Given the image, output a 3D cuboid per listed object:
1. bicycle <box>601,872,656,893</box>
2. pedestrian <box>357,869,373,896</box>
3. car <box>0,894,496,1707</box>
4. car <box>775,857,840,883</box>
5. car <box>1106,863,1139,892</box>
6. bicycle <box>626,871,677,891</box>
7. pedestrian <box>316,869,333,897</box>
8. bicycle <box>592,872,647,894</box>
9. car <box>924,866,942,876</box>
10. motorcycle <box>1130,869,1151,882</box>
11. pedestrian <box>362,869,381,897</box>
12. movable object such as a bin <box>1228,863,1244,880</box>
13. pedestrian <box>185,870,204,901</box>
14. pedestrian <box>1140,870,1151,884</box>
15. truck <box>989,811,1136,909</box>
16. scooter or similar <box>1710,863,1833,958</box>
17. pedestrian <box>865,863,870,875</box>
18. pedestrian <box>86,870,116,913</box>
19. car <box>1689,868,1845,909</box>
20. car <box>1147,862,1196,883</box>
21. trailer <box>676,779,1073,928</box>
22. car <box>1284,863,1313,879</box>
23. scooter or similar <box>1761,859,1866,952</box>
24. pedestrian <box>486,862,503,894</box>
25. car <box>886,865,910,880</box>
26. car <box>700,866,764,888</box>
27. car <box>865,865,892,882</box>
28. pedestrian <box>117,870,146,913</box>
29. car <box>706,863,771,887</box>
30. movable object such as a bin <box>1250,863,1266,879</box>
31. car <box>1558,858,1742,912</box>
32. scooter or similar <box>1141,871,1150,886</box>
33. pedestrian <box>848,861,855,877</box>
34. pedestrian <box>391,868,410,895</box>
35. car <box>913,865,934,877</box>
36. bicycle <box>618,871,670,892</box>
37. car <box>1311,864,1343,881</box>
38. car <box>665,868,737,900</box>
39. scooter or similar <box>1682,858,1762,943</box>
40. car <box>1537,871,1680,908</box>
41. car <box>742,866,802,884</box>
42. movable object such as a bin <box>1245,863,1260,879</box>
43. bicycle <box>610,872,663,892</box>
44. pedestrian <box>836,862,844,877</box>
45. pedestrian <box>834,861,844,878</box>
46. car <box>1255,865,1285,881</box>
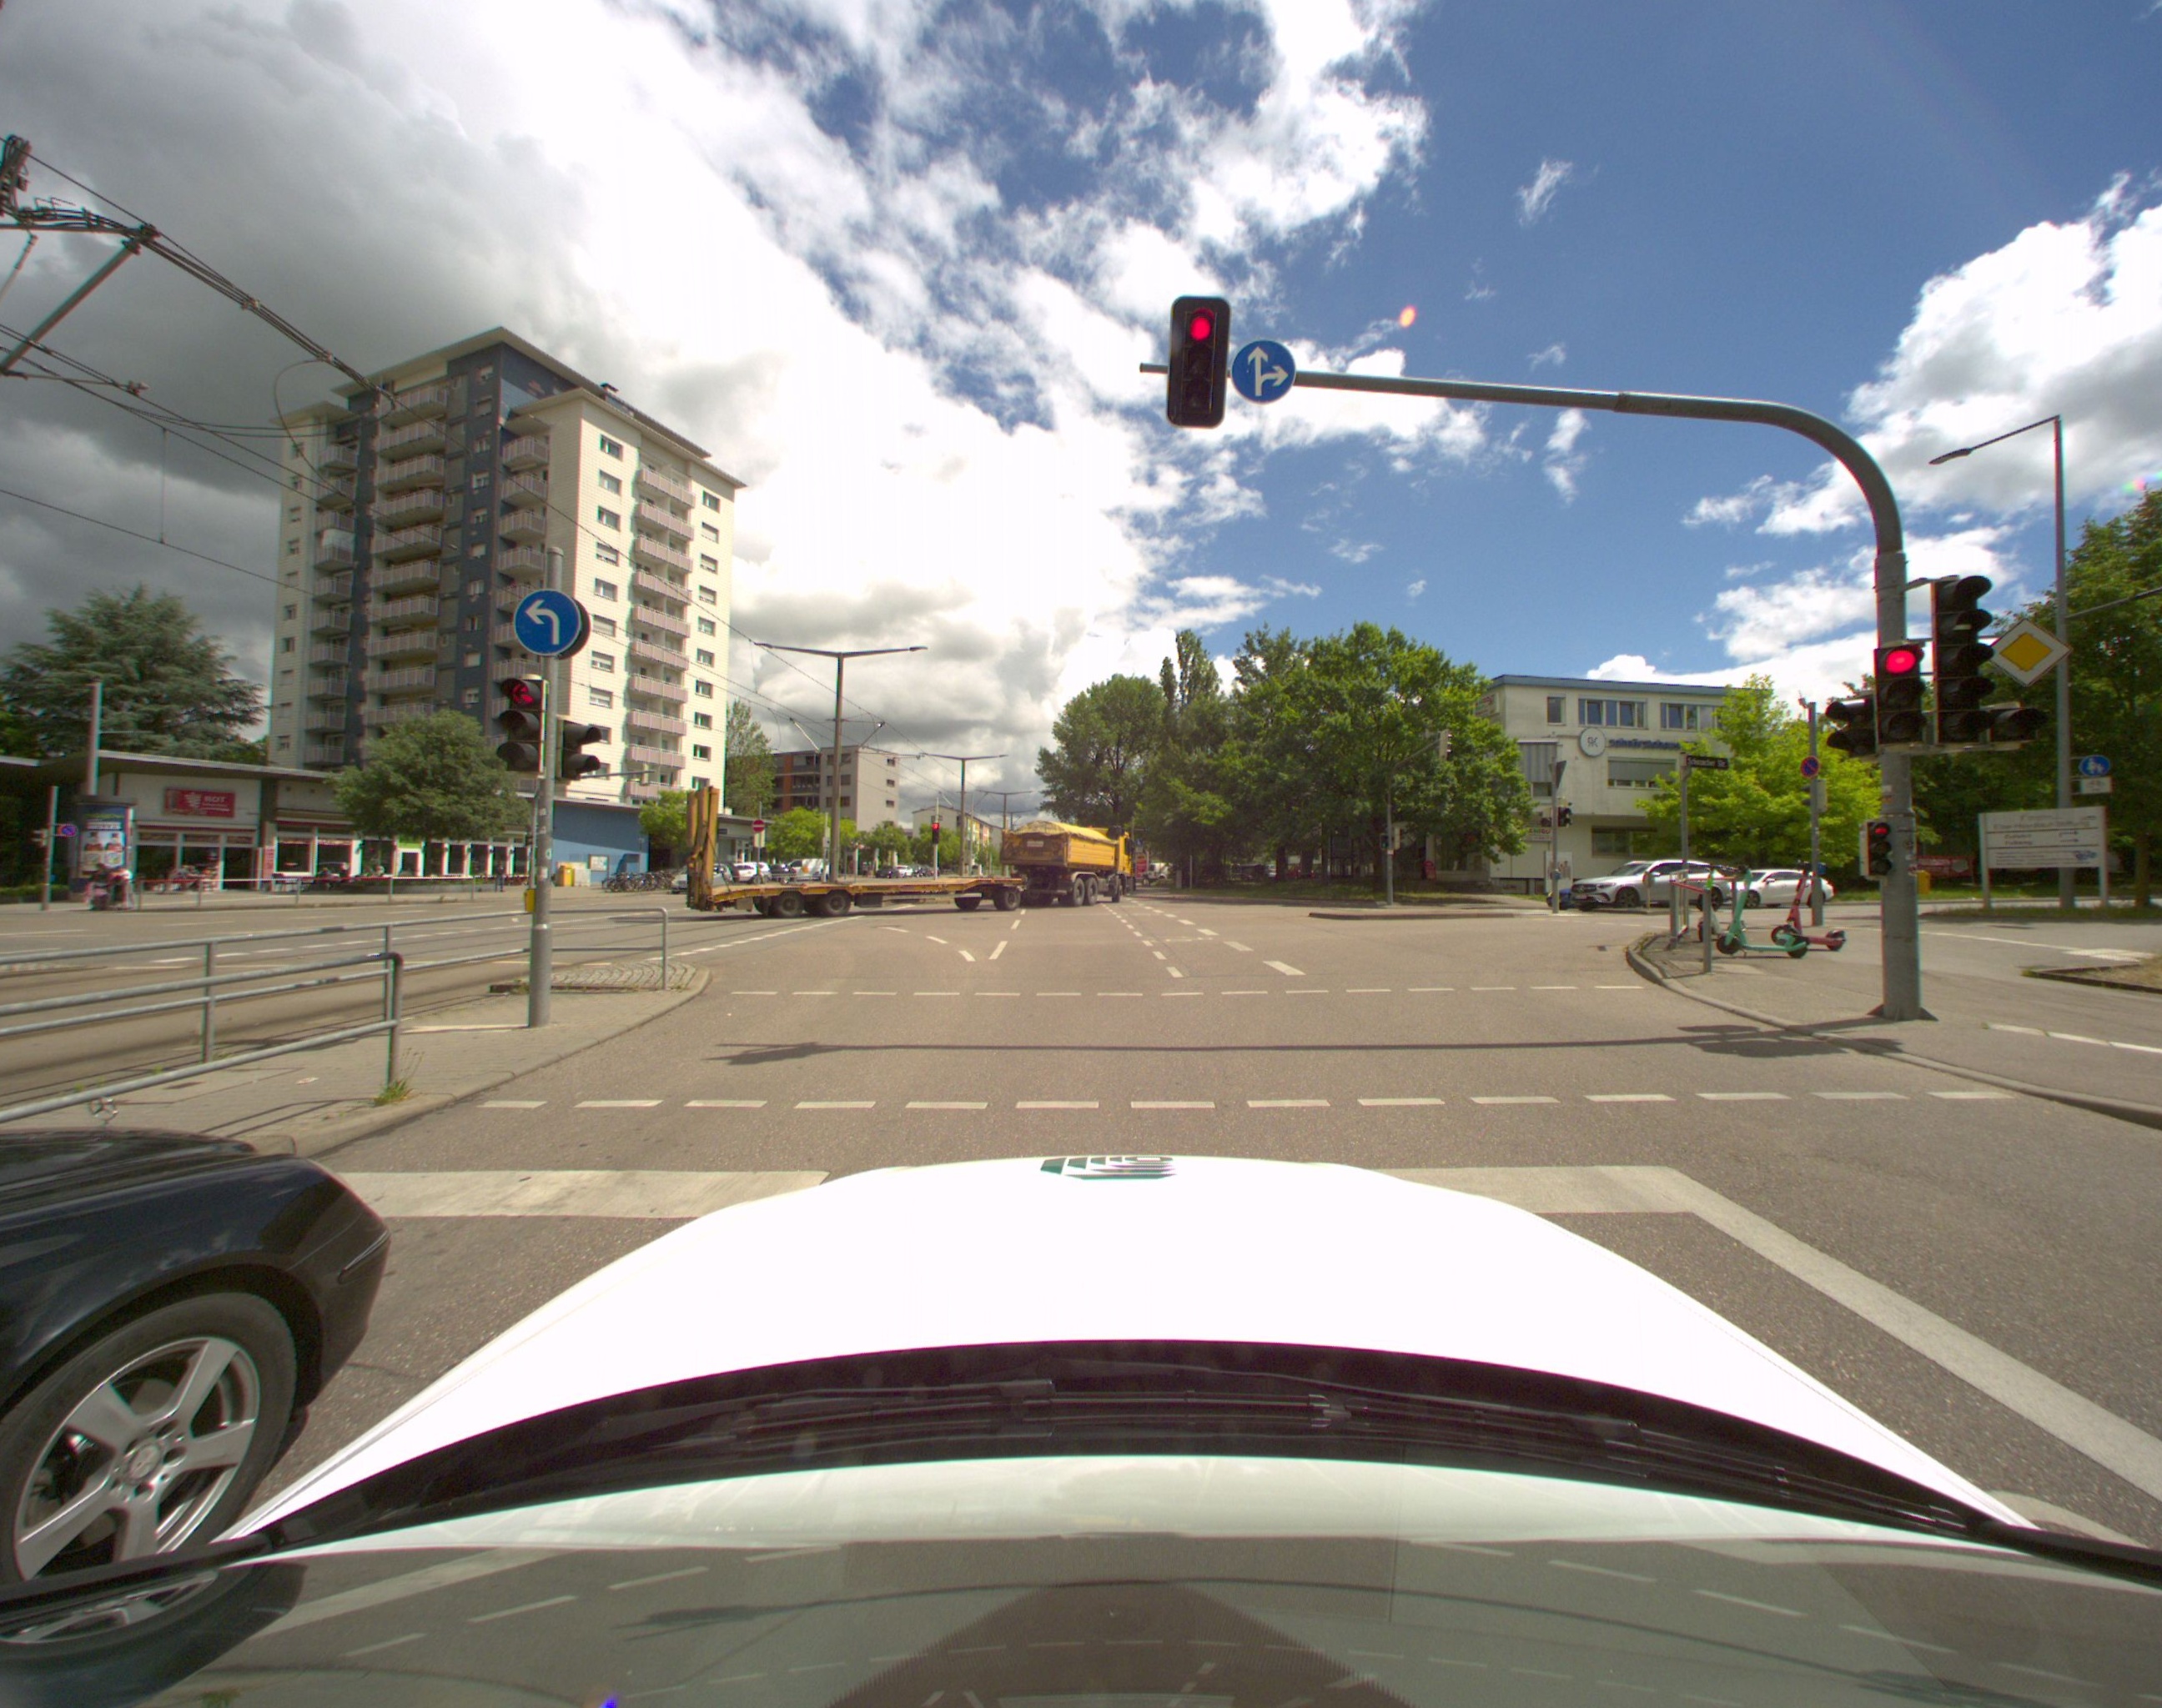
[{"bbox_3d":[-23.438,1.469,42.225,2.419,1.066,0.705,0,-1,0],"label":"bicycle"},{"bbox_3d":[-39.725,1.555,45.181,0.565,1.472,0.529,-1,-1,29],"label":"pedestrian"},{"bbox_3d":[-2.862,0.808,0.151,1.963,1.398,4.678,0,0,3],"label":"car"},{"bbox_3d":[-23.011,1.332,68.599,4.788,2.157,1.883,0,-1,-42],"label":"car"},{"bbox_3d":[2.619,1.450,52.158,1.640,1.762,4.564,0,-1,-3],"label":"car"},{"bbox_3d":[-23.539,1.489,44.616,2.419,1.066,0.705,0,-1,0],"label":"bicycle"},{"bbox_3d":[-40.399,1.529,43.513,0.565,1.472,0.529,-1,-1,32],"label":"pedestrian"},{"bbox_3d":[-23.465,1.463,41.426,2.419,1.066,0.705,0,-1,0],"label":"bicycle"},{"bbox_3d":[-21.329,2.435,117.430,1.605,1.426,3.428,0,-1,6],"label":"car"},{"bbox_3d":[5.594,2.028,76.542,1.803,1.210,0.706,0,-1,-24],"label":"motorcycle"},{"bbox_3d":[-38.588,1.561,44.277,0.522,1.472,0.573,0,-1,3],"label":"pedestrian"},{"bbox_3d":[13.881,1.554,72.851,1.113,1.430,1.284,0,-1,-4],"label":"movable object such as a bin"},{"bbox_3d":[-43.075,1.511,39.558,0.565,1.472,0.529,-1,-1,32],"label":"pedestrian"},{"bbox_3d":[4.835,1.724,61.115,0.775,1.055,0.546,0,-1,-7],"label":"pedestrian"},{"bbox_3d":[-0.440,0.230,31.911,2.809,3.330,8.026,-1,-1,22],"label":"truck"},{"bbox_3d":[8.882,0.720,10.499,1.162,1.195,0.449,0,-1,5],"label":"scooter or similar"},{"bbox_3d":[-25.458,1.758,97.197,0.500,1.460,0.555,0,-1,-28],"label":"pedestrian"},{"bbox_3d":[-34.052,1.292,28.303,0.565,1.472,0.529,-1,-1,26],"label":"pedestrian"},{"bbox_3d":[25.213,1.261,30.010,4.387,1.415,1.945,0,-3,-9],"label":"car"},{"bbox_3d":[8.110,1.614,72.741,4.005,1.823,1.796,0,-1,-24],"label":"car"},{"bbox_3d":[-5.884,-0.014,25.247,11.662,3.773,3.027,0,-1,-36],"label":"trailer"},{"bbox_3d":[20.494,1.565,76.756,1.737,1.443,4.001,0,0,1],"label":"car"},{"bbox_3d":[10.180,0.697,11.329,1.182,1.235,0.478,0,-1,-12],"label":"scooter or similar"},{"bbox_3d":[-30.002,1.213,41.667,0.415,1.643,0.600,0,-1,-2],"label":"pedestrian"},{"bbox_3d":[-21.491,2.169,95.887,1.989,1.663,4.095,1,0,-3],"label":"car"},{"bbox_3d":[-24.558,1.590,57.338,3.786,1.496,1.727,0,-1,-40],"label":"car"},{"bbox_3d":[-21.978,2.099,88.421,1.989,1.663,4.095,1,0,-3],"label":"car"},{"bbox_3d":[-33.128,1.311,28.414,0.512,1.472,0.529,-1,-1,26],"label":"pedestrian"},{"bbox_3d":[-25.157,1.525,59.869,1.882,1.632,4.024,-1,-1,44],"label":"car"},{"bbox_3d":[16.016,1.543,73.569,1.113,1.430,1.284,0,-1,-4],"label":"movable object such as a bin"},{"bbox_3d":[17.880,0.987,25.705,4.636,1.592,1.918,0,-3,-7],"label":"car"},{"bbox_3d":[4.845,1.836,61.124,0.476,1.055,0.895,0,-1,-7],"label":"scooter or similar"},{"bbox_3d":[-26.191,1.674,92.887,0.609,1.792,0.843,0,-1,-1],"label":"pedestrian"},{"bbox_3d":[-38.053,1.546,45.544,0.522,1.472,0.573,0,-1,3],"label":"pedestrian"},{"bbox_3d":[-21.392,2.284,110.863,1.986,1.648,4.102,0,-1,2],"label":"car"},{"bbox_3d":[-23.519,1.483,43.870,2.419,1.066,0.705,0,-1,0],"label":"bicycle"},{"bbox_3d":[22.899,1.700,75.958,1.738,1.470,3.997,0,0,-1],"label":"car"},{"bbox_3d":[-19.766,1.531,42.507,1.810,1.533,3.758,0,-1,4],"label":"car"},{"bbox_3d":[9.718,0.677,12.337,1.213,1.235,0.475,0,-1,-27],"label":"scooter or similar"},{"bbox_3d":[18.755,1.283,29.051,3.955,1.225,1.908,0,-3,-7],"label":"car"},{"bbox_3d":[-24.337,1.637,64.176,4.022,1.383,1.883,0,-1,-42],"label":"car"},{"bbox_3d":[15.886,1.561,75.420,1.113,1.430,1.284,0,-1,-4],"label":"movable object such as a bin"},{"bbox_3d":[-23.510,1.477,43.106,2.419,1.066,0.705,0,-1,0],"label":"bicycle"},{"bbox_3d":[-25.212,1.601,85.306,0.667,1.574,0.682,0,-1,-28],"label":"pedestrian"},{"bbox_3d":[-24.236,1.546,81.444,0.844,1.650,0.608,1,-1,-24],"label":"pedestrian"},{"bbox_3d":[17.700,1.764,76.312,1.933,1.490,4.001,0,0,1],"label":"car"}]
